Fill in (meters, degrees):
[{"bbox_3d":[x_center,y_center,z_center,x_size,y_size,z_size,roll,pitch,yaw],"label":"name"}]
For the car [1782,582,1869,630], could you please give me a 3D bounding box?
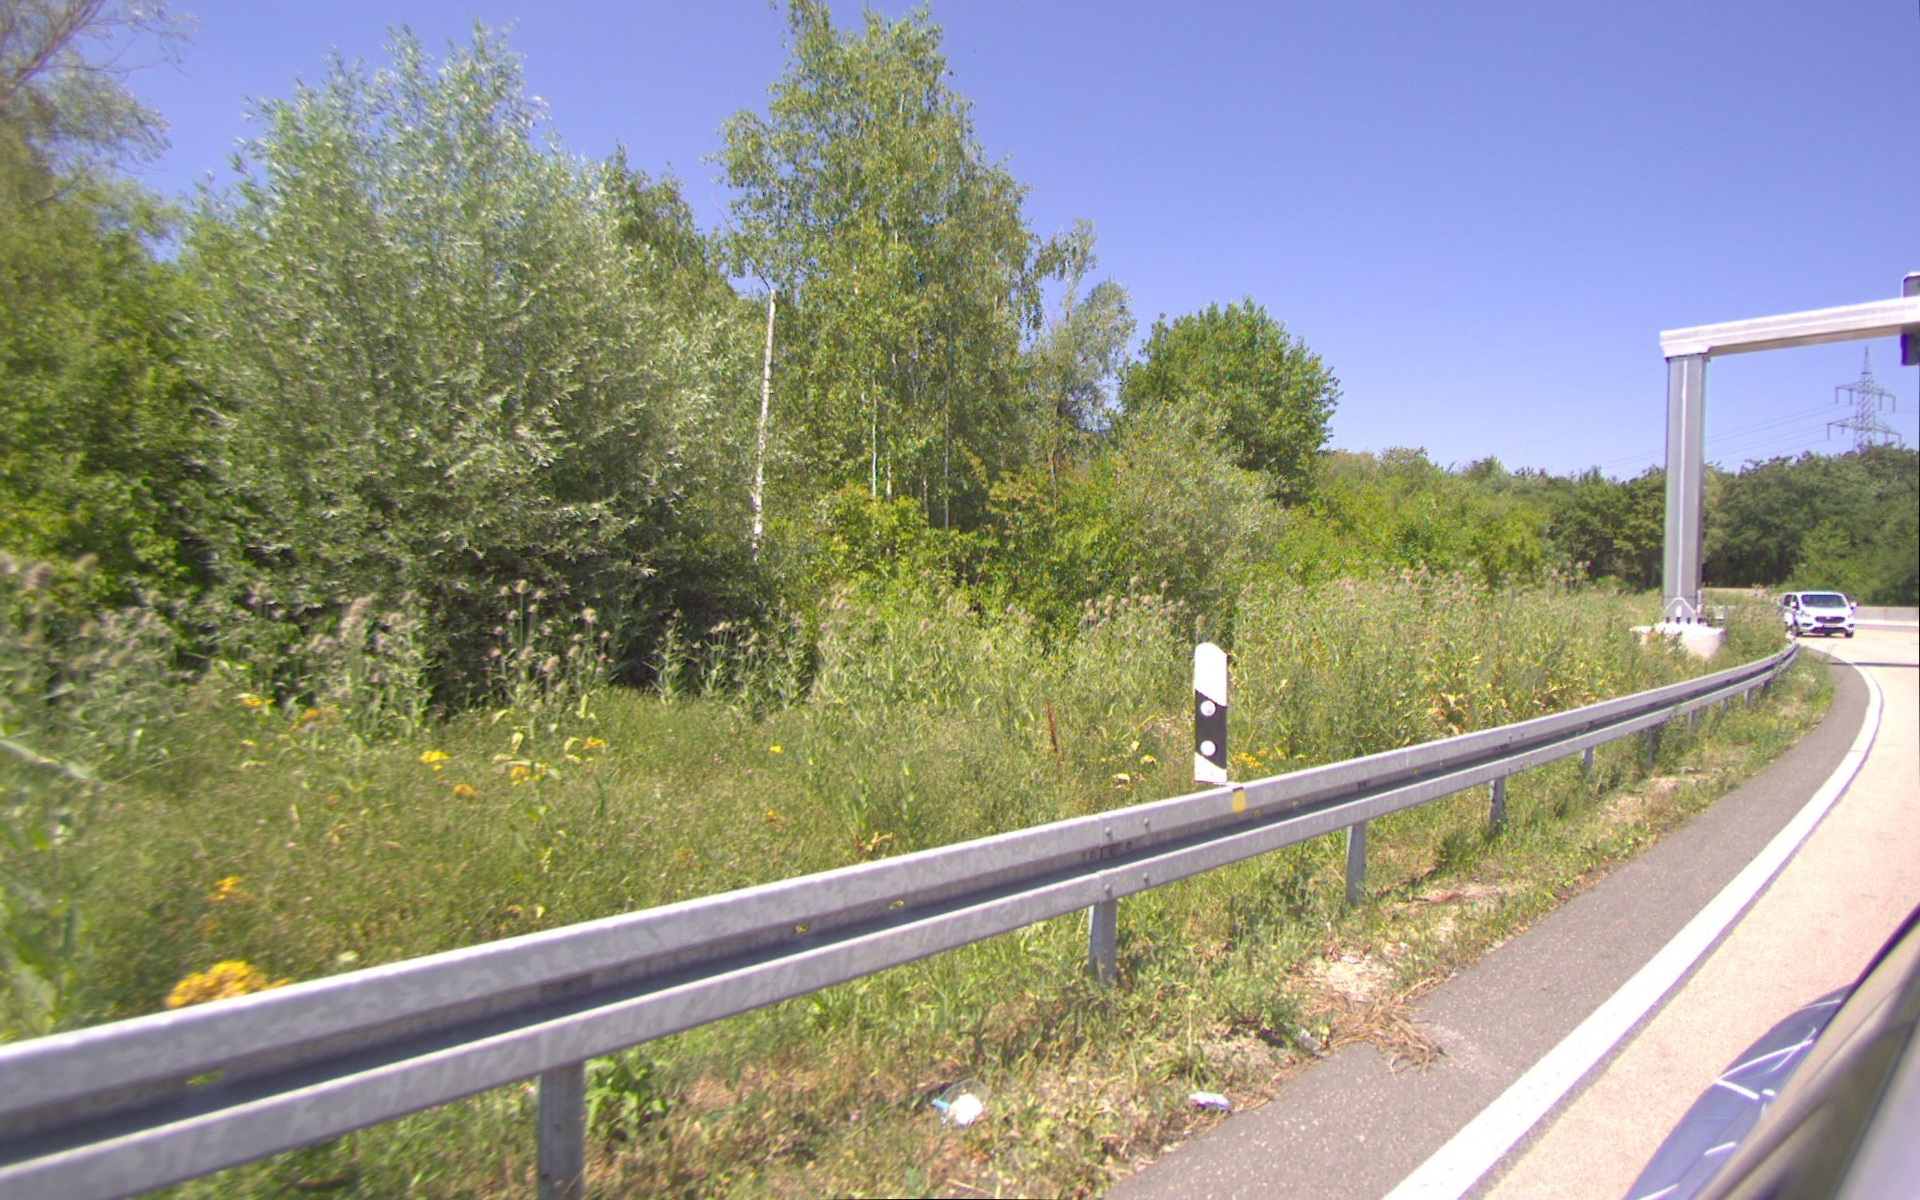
[{"bbox_3d":[38.840,0.273,45.525,2.046,2.039,4.987,-1,-1,30],"label":"car"}]
